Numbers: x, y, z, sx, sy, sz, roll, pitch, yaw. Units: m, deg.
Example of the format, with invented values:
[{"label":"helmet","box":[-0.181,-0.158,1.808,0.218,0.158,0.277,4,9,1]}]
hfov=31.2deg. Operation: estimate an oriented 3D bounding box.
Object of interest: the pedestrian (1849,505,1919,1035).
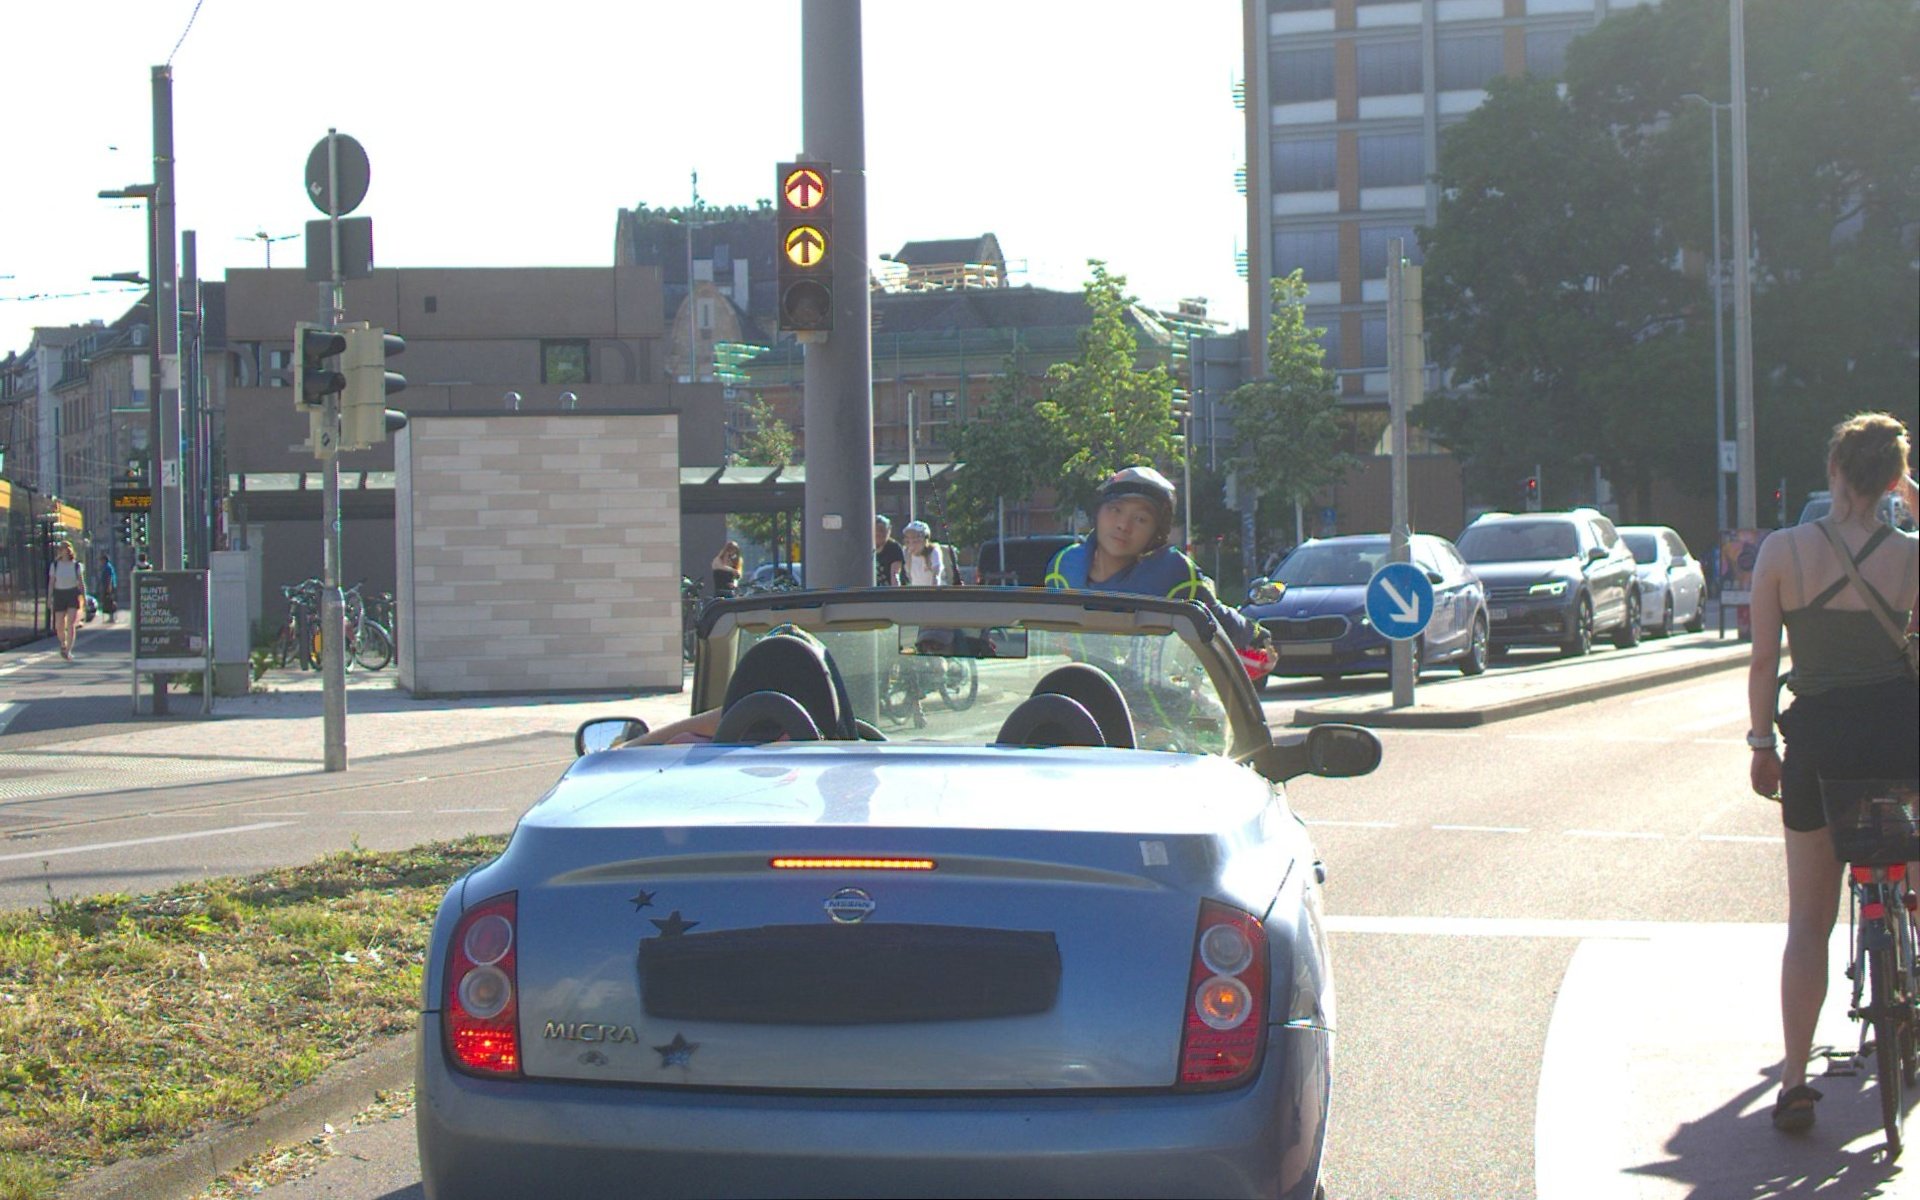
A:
[{"label":"pedestrian","box":[3.133,0.511,10.809,0.588,1.593,1.024,1,0,17]}]

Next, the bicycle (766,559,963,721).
[{"label":"bicycle","box":[-0.773,0.312,28.848,0.675,1.246,2.454,-3,0,22]}]

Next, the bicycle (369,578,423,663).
[{"label":"bicycle","box":[-7.629,0.265,46.460,0.606,1.111,1.897,1,1,-12]}]

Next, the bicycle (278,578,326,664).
[{"label":"bicycle","box":[-8.799,0.274,45.990,0.606,1.111,1.897,1,1,-11]}]

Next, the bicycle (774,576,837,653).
[{"label":"bicycle","box":[-2.313,0.206,51.267,0.606,1.111,1.897,1,1,-12]}]

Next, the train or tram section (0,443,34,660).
[{"label":"train or tram section","box":[-18.167,-0.854,60.675,2.880,3.584,12.203,1,1,-12]}]

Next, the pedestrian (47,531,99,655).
[{"label":"pedestrian","box":[-12.703,-0.102,49.213,0.637,1.743,0.572,-1,1,-19]}]

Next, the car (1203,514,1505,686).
[{"label":"car","box":[3.915,-0.014,33.629,1.739,1.568,3.919,1,1,25]}]

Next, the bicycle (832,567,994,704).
[{"label":"bicycle","box":[-0.408,0.309,31.461,0.675,1.176,2.181,-1,1,22]}]

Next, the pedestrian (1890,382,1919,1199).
[{"label":"pedestrian","box":[2.489,0.455,7.393,0.806,1.862,0.956,1,0,8]}]

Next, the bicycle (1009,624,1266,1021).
[{"label":"bicycle","box":[0.658,0.698,11.897,0.608,1.187,2.414,1,1,9]}]

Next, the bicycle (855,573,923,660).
[{"label":"bicycle","box":[-0.947,0.206,45.562,0.606,1.111,1.897,1,1,-10]}]

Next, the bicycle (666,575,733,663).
[{"label":"bicycle","box":[-3.430,0.235,45.118,0.606,1.111,1.897,1,1,-12]}]

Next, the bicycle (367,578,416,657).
[{"label":"bicycle","box":[-8.330,0.243,50.334,0.606,1.111,1.897,1,1,-12]}]

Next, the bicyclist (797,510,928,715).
[{"label":"bicyclist","box":[-0.813,0.098,28.776,0.709,1.651,0.900,-3,0,22]}]

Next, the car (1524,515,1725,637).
[{"label":"car","box":[9.001,-0.348,46.325,1.697,1.555,3.974,-1,1,25]}]

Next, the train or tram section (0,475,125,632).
[{"label":"train or tram section","box":[-22.577,-1.143,84.592,3.039,3.584,12.055,1,1,-9]}]

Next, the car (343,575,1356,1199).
[{"label":"car","box":[0.033,0.677,7.688,1.660,1.436,4.153,1,1,6]}]

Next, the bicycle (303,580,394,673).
[{"label":"bicycle","box":[-7.545,0.316,42.461,0.607,1.111,1.896,1,1,5]}]

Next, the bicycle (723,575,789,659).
[{"label":"bicycle","box":[-2.807,0.223,47.191,0.606,1.111,1.897,1,1,-12]}]

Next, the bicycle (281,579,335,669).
[{"label":"bicycle","box":[-8.365,0.299,44.065,0.606,1.111,1.897,1,1,-12]}]

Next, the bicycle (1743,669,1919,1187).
[{"label":"bicycle","box":[2.368,0.784,8.972,0.564,1.147,1.948,1,1,14]}]

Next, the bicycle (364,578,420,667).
[{"label":"bicycle","box":[-7.340,0.276,44.396,0.606,1.111,1.897,1,1,-12]}]

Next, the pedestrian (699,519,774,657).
[{"label":"pedestrian","box":[-3.042,-0.165,46.840,0.900,1.862,0.687,1,0,-12]}]

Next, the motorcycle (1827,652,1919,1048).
[{"label":"motorcycle","box":[3.173,0.745,11.075,0.614,1.094,2.358,1,1,17]}]

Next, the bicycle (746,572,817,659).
[{"label":"bicycle","box":[-2.356,0.190,45.259,0.606,1.111,1.897,1,1,-12]}]

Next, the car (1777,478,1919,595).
[{"label":"car","box":[16.039,-1.143,61.851,1.911,1.938,4.701,-2,0,21]}]

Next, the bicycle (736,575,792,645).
[{"label":"bicycle","box":[-3.246,0.156,56.745,0.606,1.111,1.897,1,1,-12]}]

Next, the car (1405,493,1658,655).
[{"label":"car","box":[6.653,-0.321,39.619,1.763,1.700,4.525,-2,0,24]}]

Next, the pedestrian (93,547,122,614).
[{"label":"pedestrian","box":[-22.296,-0.517,89.921,0.604,1.743,0.832,-1,1,-8]}]

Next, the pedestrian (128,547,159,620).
[{"label":"pedestrian","box":[-19.630,-0.399,82.647,0.637,1.743,0.736,-1,1,-19]}]

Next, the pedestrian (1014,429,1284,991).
[{"label":"pedestrian","box":[0.674,0.360,11.960,0.833,1.862,0.920,1,0,8]}]

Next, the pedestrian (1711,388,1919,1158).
[{"label":"pedestrian","box":[2.287,0.414,8.780,0.659,1.862,0.872,1,0,15]}]

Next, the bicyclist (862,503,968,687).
[{"label":"bicyclist","box":[-0.408,-0.047,31.483,0.709,1.651,0.742,-1,1,22]}]

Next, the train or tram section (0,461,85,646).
[{"label":"train or tram section","box":[-20.509,-0.995,72.665,3.011,3.584,12.203,1,1,-10]}]

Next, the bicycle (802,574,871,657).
[{"label":"bicycle","box":[-1.721,0.202,47.579,0.606,1.111,1.897,1,1,-12]}]

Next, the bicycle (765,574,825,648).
[{"label":"bicycle","box":[-2.561,0.160,53.238,0.606,1.111,1.897,1,1,-12]}]

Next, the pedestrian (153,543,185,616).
[{"label":"pedestrian","box":[-19.107,-0.502,83.041,0.637,1.743,0.736,-1,1,-19]}]

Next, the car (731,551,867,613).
[{"label":"car","box":[-4.162,-0.457,88.613,1.640,1.555,3.599,-2,1,-39]}]
